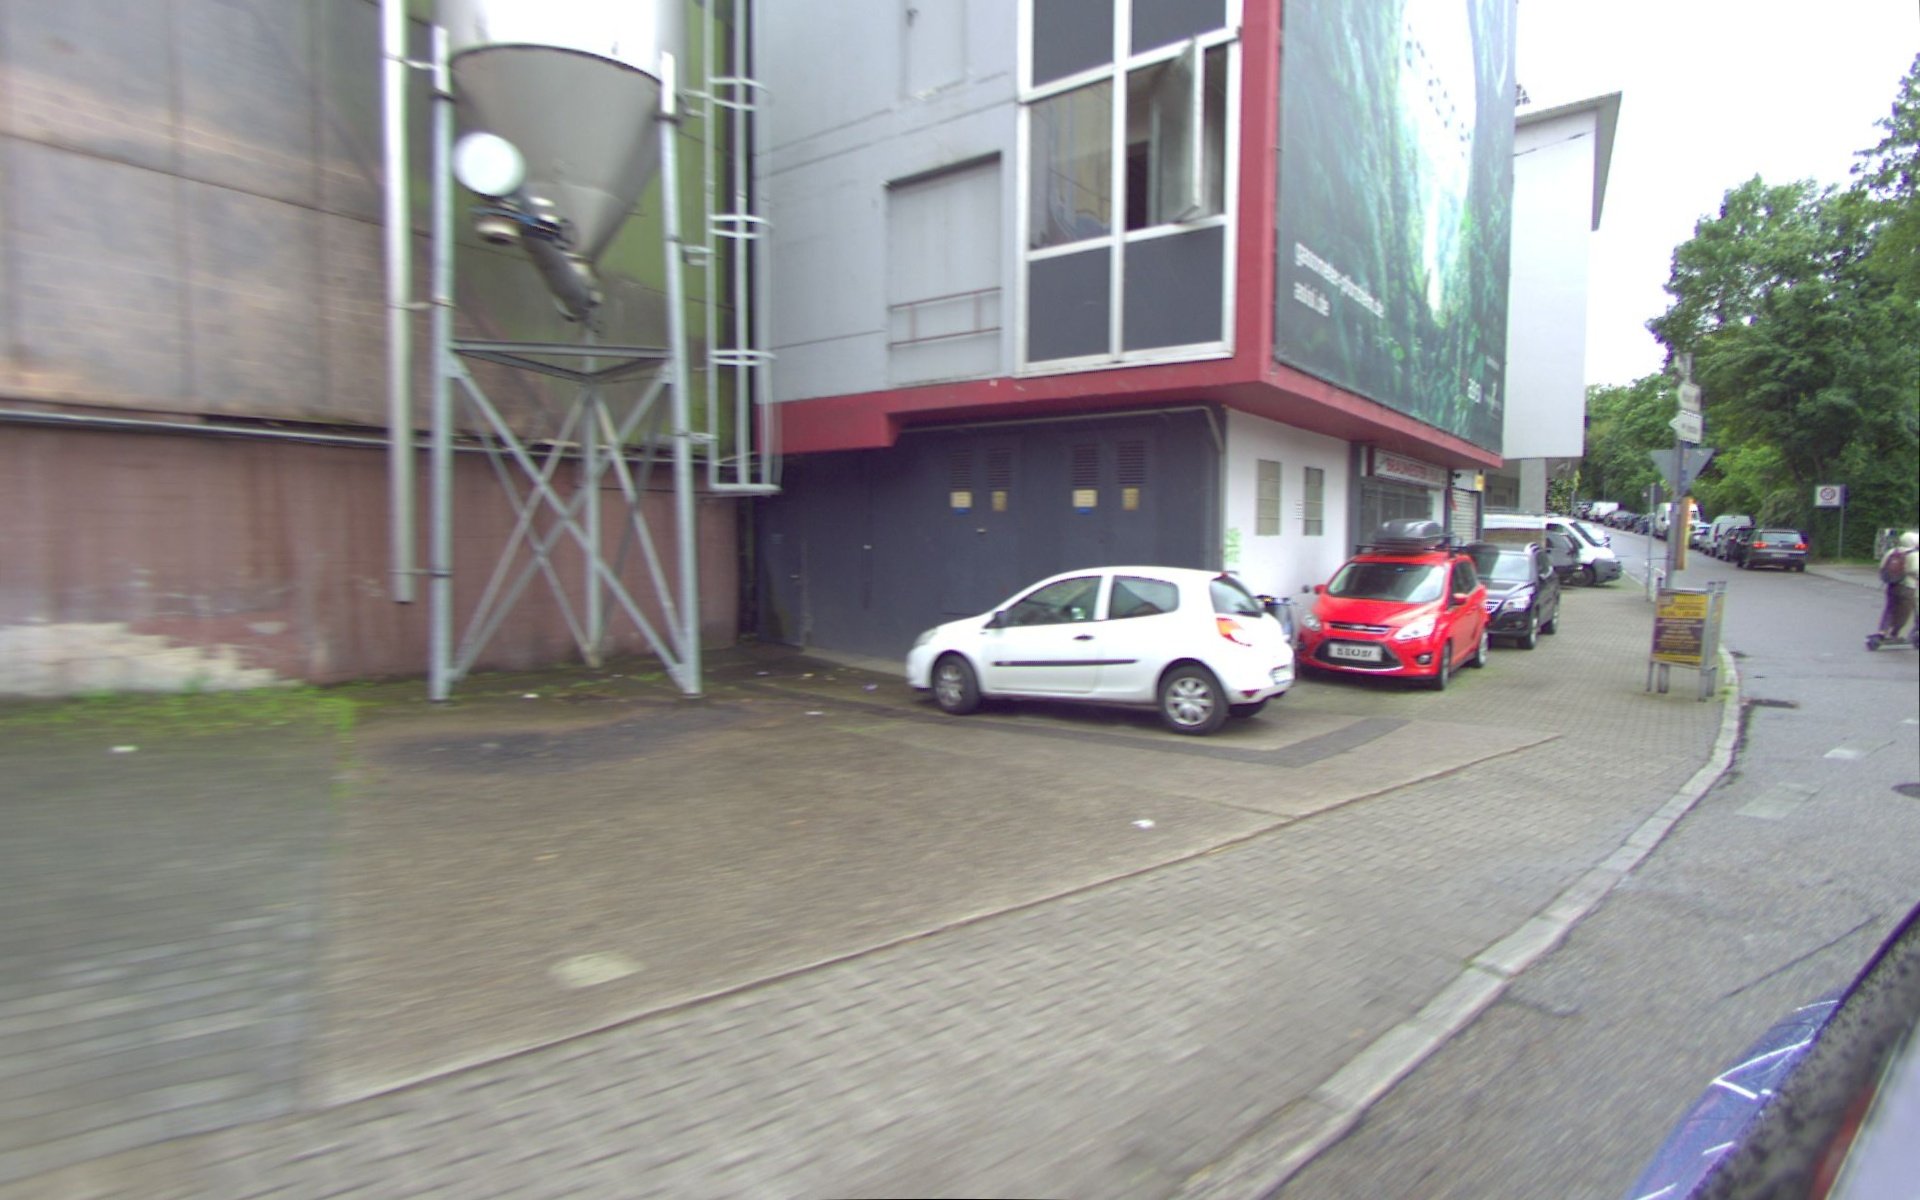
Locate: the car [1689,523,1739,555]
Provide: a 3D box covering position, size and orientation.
[{"bbox_3d":[42.958,-3.539,57.743,1.896,1.670,3.956,5,6,32],"label":"car"}]

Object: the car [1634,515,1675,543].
[{"bbox_3d":[53.681,-5.520,78.307,1.890,2.058,3.968,4,6,25],"label":"car"}]

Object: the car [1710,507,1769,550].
[{"bbox_3d":[39.789,-3.683,51.736,1.896,2.099,3.956,5,6,32],"label":"car"}]

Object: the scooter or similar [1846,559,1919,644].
[{"bbox_3d":[15.752,0.006,16.748,1.381,1.338,0.806,0,4,-2],"label":"scooter or similar"}]

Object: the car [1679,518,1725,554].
[{"bbox_3d":[46.201,-4.017,63.063,1.896,2.058,3.956,5,6,32],"label":"car"}]

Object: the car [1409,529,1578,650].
[{"bbox_3d":[9.523,-0.308,17.912,1.923,1.731,3.949,7,8,37],"label":"car"}]

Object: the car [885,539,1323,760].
[{"bbox_3d":[1.387,0.317,10.383,3.969,1.550,1.853,8,6,34],"label":"car"}]

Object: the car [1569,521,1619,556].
[{"bbox_3d":[31.035,-3.048,49.521,1.896,1.519,3.956,5,6,32],"label":"car"}]

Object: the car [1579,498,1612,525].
[{"bbox_3d":[64.807,-9.032,103.215,1.769,2.659,3.981,3,6,18],"label":"car"}]

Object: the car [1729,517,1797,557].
[{"bbox_3d":[36.312,-2.892,45.858,1.896,1.670,3.956,5,6,32],"label":"car"}]

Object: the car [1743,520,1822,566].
[{"bbox_3d":[32.717,-2.325,40.356,1.896,1.670,3.956,5,6,32],"label":"car"}]

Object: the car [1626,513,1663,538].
[{"bbox_3d":[58.043,-6.363,85.835,1.890,1.963,3.968,4,6,25],"label":"car"}]

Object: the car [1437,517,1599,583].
[{"bbox_3d":[17.089,-1.607,31.103,3.987,1.711,1.856,7,8,41],"label":"car"}]

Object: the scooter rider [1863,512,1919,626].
[{"bbox_3d":[15.722,-0.528,16.710,0.766,1.842,0.806,0,4,-2],"label":"scooter rider"}]

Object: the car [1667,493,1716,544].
[{"bbox_3d":[50.454,-5.659,69.893,2.208,3.320,5.024,4,6,32],"label":"car"}]

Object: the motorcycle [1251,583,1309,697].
[{"bbox_3d":[3.753,0.424,11.811,0.447,1.174,1.412,3,4,24],"label":"motorcycle"}]

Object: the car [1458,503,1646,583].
[{"bbox_3d":[19.043,-1.918,32.720,4.876,2.236,1.856,7,8,41],"label":"car"}]

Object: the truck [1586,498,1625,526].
[{"bbox_3d":[62.813,-8.561,98.522,2.023,2.659,3.983,3,6,16],"label":"truck"}]

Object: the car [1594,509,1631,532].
[{"bbox_3d":[59.296,-7.281,92.033,1.886,1.963,3.976,3,6,20],"label":"car"}]

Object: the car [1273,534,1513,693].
[{"bbox_3d":[6.045,0.032,13.812,1.923,1.731,4.433,5,5,37],"label":"car"}]
